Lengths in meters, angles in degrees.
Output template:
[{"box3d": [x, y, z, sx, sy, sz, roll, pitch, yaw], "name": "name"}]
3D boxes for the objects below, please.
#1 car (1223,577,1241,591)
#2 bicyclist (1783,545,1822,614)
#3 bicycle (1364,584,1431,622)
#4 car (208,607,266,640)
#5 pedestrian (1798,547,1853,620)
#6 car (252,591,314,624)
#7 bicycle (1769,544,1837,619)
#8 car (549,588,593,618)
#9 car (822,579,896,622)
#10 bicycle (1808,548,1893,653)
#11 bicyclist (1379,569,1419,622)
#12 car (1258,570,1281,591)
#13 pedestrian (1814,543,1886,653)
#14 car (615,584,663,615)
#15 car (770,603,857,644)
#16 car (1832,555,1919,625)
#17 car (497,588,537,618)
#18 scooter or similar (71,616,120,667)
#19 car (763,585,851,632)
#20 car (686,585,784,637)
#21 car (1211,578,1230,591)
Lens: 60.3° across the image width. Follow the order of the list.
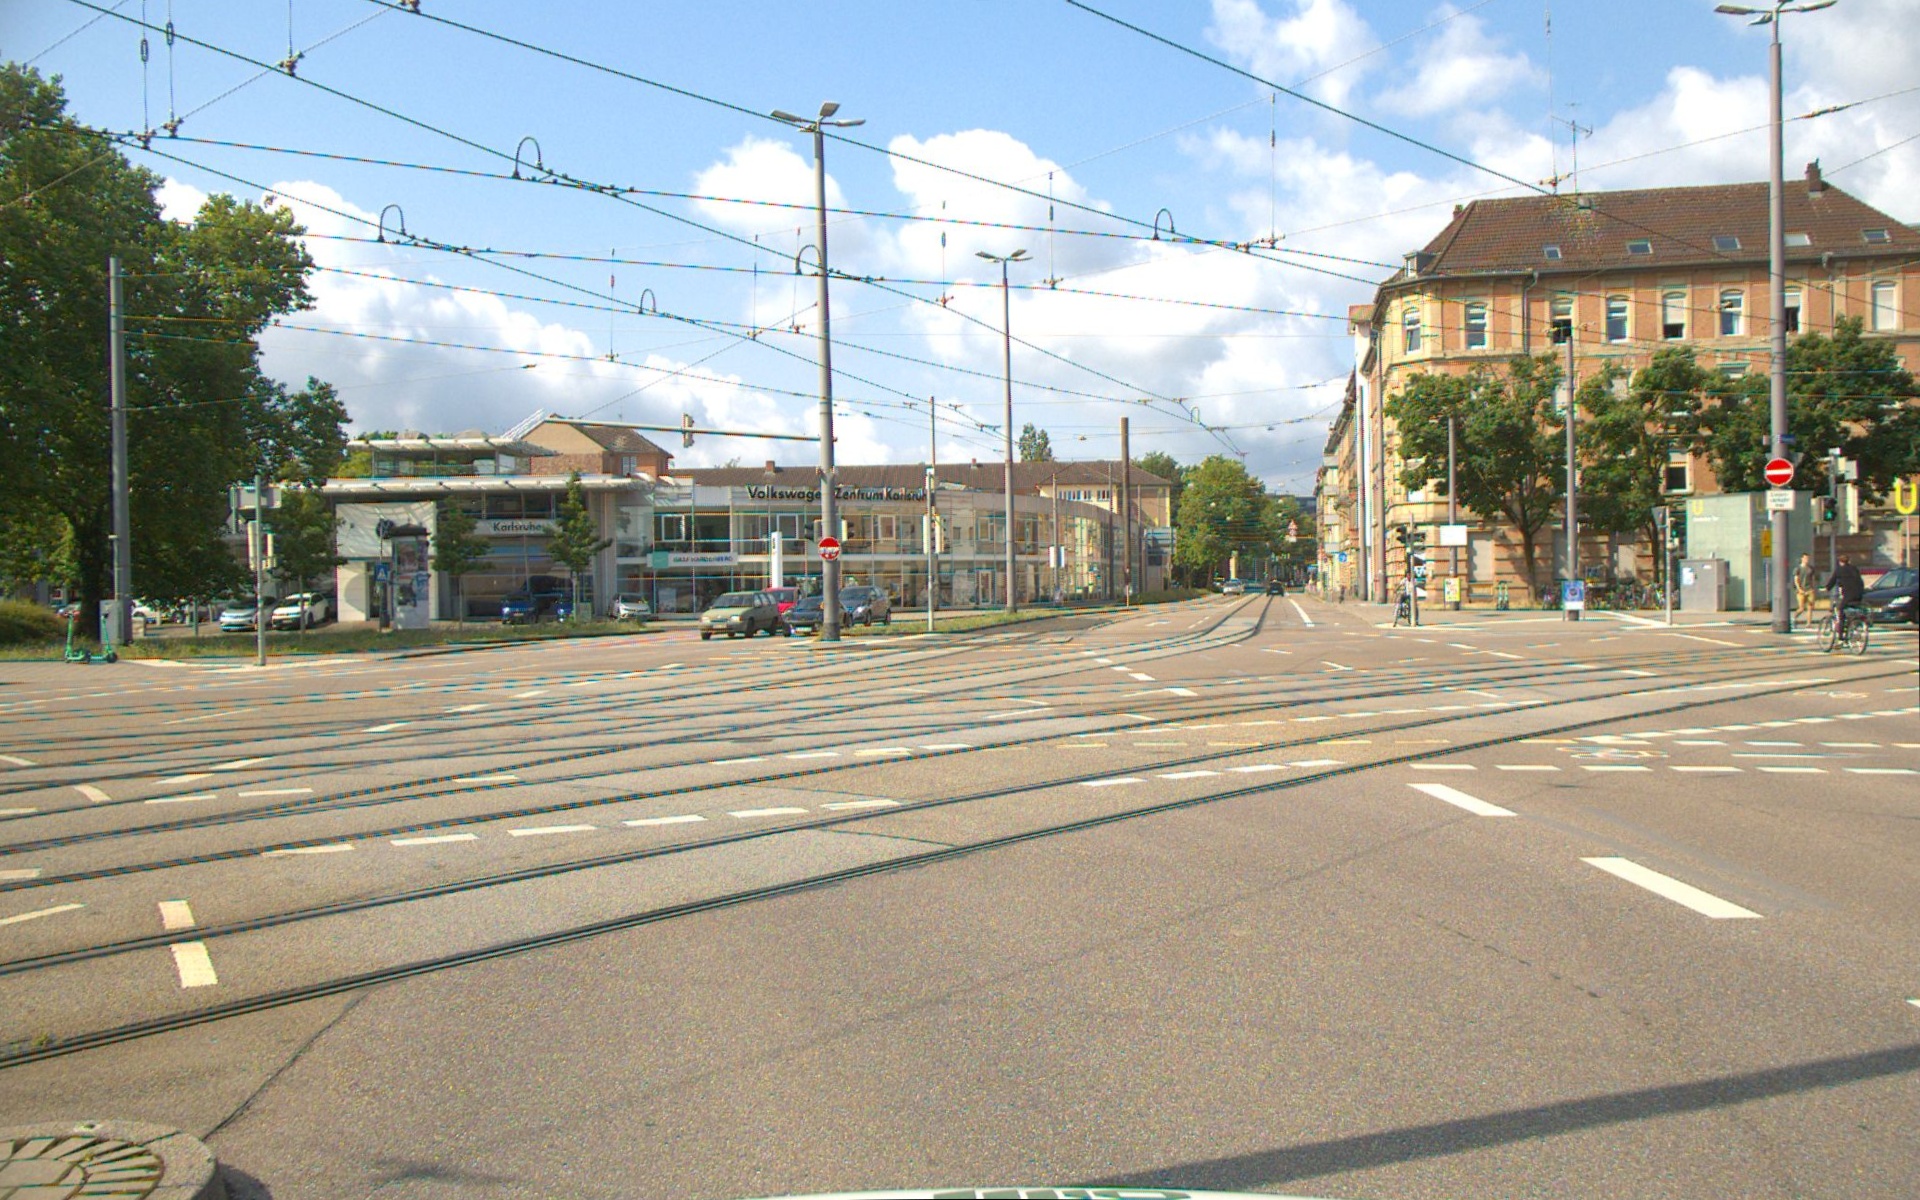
[{"box3d": [31.493, -1.863, 191.801, 1.951, 1.517, 4.003, 0, 0, 8], "name": "car"}, {"box3d": [21.008, -0.500, 41.243, 0.561, 1.700, 0.655, 1, 0, -7], "name": "bicyclist"}, {"box3d": [14.063, 0.090, 53.159, 0.886, 1.191, 2.661, 0, 1, 45], "name": "bicycle"}, {"box3d": [-38.051, 1.217, 87.168, 1.958, 1.601, 3.988, 1, 0, -12], "name": "car"}, {"box3d": [22.137, -0.417, 42.300, 0.850, 1.841, 0.883, 1, 0, -16], "name": "pedestrian"}, {"box3d": [-35.571, 0.372, 86.961, 2.028, 1.632, 3.993, -1, 1, -8], "name": "car"}, {"box3d": [20.992, -0.460, 41.215, 0.715, 1.808, 1.635, 1, 0, -7], "name": "bicycle"}, {"box3d": [-20.483, 0.133, 87.224, 1.884, 1.470, 3.992, -1, 1, -8], "name": "car"}, {"box3d": [-3.984, -0.004, 65.627, 1.951, 1.579, 4.004, -1, 1, 11], "name": "car"}, {"box3d": [15.651, 0.019, 29.133, 0.985, 1.755, 2.469, 1, 0, 21], "name": "bicycle"}, {"box3d": [14.126, -0.152, 53.210, 0.773, 1.687, 1.189, 0, 0, 45], "name": "bicyclist"}, {"box3d": [29.970, -1.891, 160.104, 1.951, 2.049, 4.003, -1, 1, 14], "name": "car"}, {"box3d": [15.636, -0.032, 29.069, 0.972, 1.873, 0.996, 1, 0, 22], "name": "pedestrian"}, {"box3d": [-17.283, -0.051, 89.244, 1.881, 1.579, 3.998, -1, 1, -2], "name": "car"}, {"box3d": [-4.510, 0.713, 51.555, 1.587, 1.182, 4.003, 1, 0, 12], "name": "car"}, {"box3d": [25.648, -0.237, 44.478, 4.283, 1.770, 1.979, 2, 0, -31], "name": "car"}, {"box3d": [-23.365, 0.134, 87.275, 1.887, 1.470, 3.986, -1, 1, -13], "name": "car"}, {"box3d": [-20.784, 1.012, 39.773, 0.373, 1.177, 0.927, 5, 0, 30], "name": "scooter or similar"}, {"box3d": [-5.297, 0.300, 57.806, 1.951, 1.545, 4.003, 1, 0, 12], "name": "car"}, {"box3d": [-6.999, 0.342, 51.851, 1.781, 1.539, 4.003, 1, 0, 12], "name": "car"}, {"box3d": [28.108, -1.714, 178.514, 1.951, 1.355, 4.003, -1, 1, 7], "name": "car"}]
